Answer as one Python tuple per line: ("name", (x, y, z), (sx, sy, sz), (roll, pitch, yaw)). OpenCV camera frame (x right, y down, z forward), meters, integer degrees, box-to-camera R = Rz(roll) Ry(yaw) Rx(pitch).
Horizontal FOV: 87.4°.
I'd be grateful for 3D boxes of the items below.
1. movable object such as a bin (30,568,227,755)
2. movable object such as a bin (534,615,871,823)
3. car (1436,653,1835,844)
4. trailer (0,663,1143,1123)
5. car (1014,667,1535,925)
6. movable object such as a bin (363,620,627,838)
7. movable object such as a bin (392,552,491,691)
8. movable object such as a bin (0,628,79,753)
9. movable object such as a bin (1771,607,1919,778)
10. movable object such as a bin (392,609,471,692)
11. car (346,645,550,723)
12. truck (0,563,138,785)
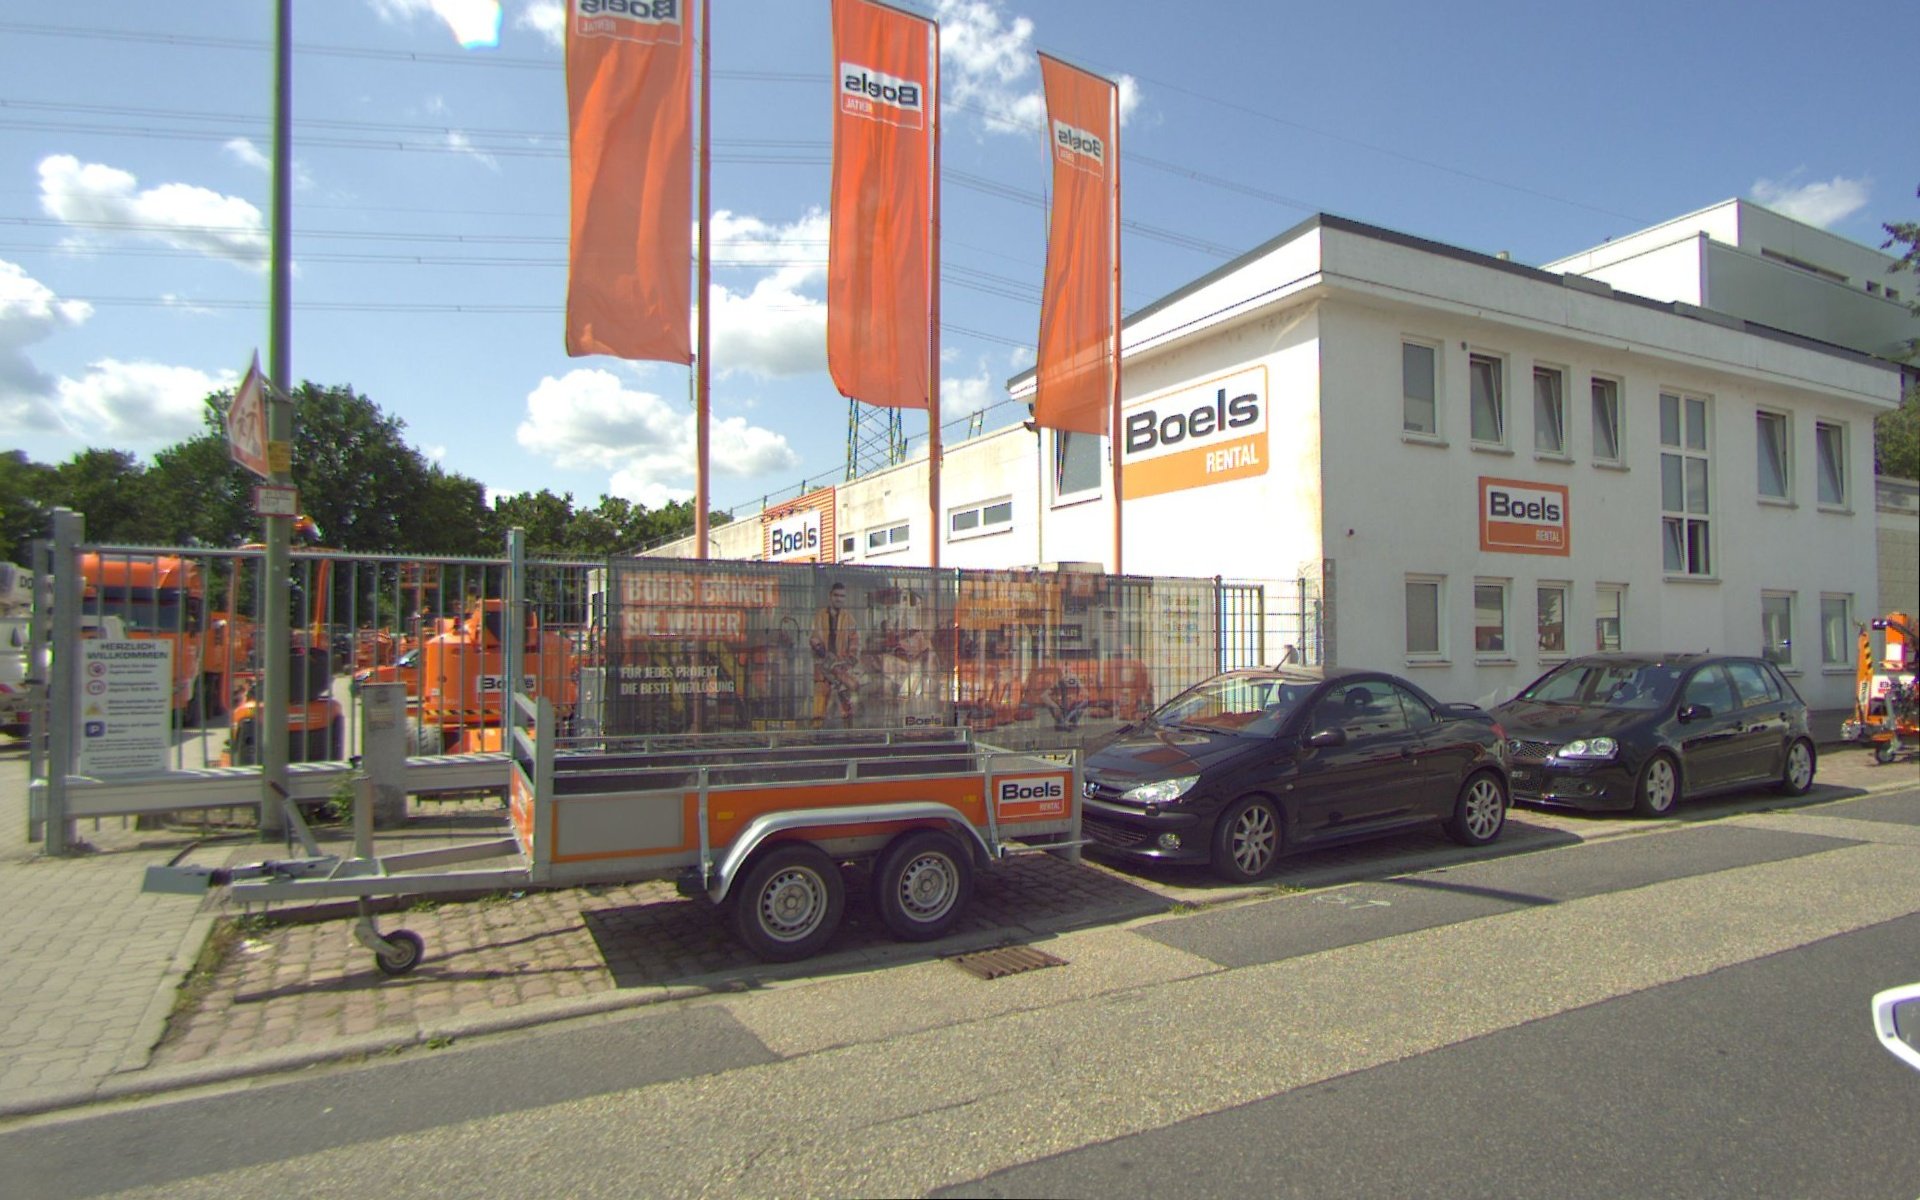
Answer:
("movable object such as a bin", (-18.718, 1.359, 22.909), (2.887, 3.784, 3.966), (1, -3, -32))
("movable object such as a bin", (-3.876, 1.241, 13.457), (1.887, 2.031, 7.549), (1, -1, -35))
("car", (6.806, 1.310, 10.027), (4.174, 1.474, 1.665), (1, -1, -30))
("trailer", (-1.517, 1.111, 5.389), (4.991, 1.395, 1.759), (1, -1, -30))
("car", (2.467, 1.278, 7.677), (3.838, 1.395, 1.665), (1, -1, -30))
("movable object such as a bin", (-6.173, 1.271, 12.709), (1.887, 2.031, 6.816), (1, -1, -35))
("movable object such as a bin", (-30.618, 1.423, 58.925), (4.445, 7.254, 12.026), (1, -3, -31))
("movable object such as a bin", (-22.068, 1.928, 21.622), (4.004, 2.570, 3.965), (1, -3, -33))
("movable object such as a bin", (13.111, 1.116, 13.508), (5.075, 1.945, 1.606), (1, 1, -29))
("movable object such as a bin", (-23.380, 2.214, 44.122), (2.512, 3.203, 11.413), (1, -3, -31))
("car", (-15.736, 2.501, 31.052), (5.392, 2.193, 1.981), (1, -3, -36))
("truck", (-15.545, 1.175, 16.551), (2.471, 3.184, 5.526), (1, -3, -33))
